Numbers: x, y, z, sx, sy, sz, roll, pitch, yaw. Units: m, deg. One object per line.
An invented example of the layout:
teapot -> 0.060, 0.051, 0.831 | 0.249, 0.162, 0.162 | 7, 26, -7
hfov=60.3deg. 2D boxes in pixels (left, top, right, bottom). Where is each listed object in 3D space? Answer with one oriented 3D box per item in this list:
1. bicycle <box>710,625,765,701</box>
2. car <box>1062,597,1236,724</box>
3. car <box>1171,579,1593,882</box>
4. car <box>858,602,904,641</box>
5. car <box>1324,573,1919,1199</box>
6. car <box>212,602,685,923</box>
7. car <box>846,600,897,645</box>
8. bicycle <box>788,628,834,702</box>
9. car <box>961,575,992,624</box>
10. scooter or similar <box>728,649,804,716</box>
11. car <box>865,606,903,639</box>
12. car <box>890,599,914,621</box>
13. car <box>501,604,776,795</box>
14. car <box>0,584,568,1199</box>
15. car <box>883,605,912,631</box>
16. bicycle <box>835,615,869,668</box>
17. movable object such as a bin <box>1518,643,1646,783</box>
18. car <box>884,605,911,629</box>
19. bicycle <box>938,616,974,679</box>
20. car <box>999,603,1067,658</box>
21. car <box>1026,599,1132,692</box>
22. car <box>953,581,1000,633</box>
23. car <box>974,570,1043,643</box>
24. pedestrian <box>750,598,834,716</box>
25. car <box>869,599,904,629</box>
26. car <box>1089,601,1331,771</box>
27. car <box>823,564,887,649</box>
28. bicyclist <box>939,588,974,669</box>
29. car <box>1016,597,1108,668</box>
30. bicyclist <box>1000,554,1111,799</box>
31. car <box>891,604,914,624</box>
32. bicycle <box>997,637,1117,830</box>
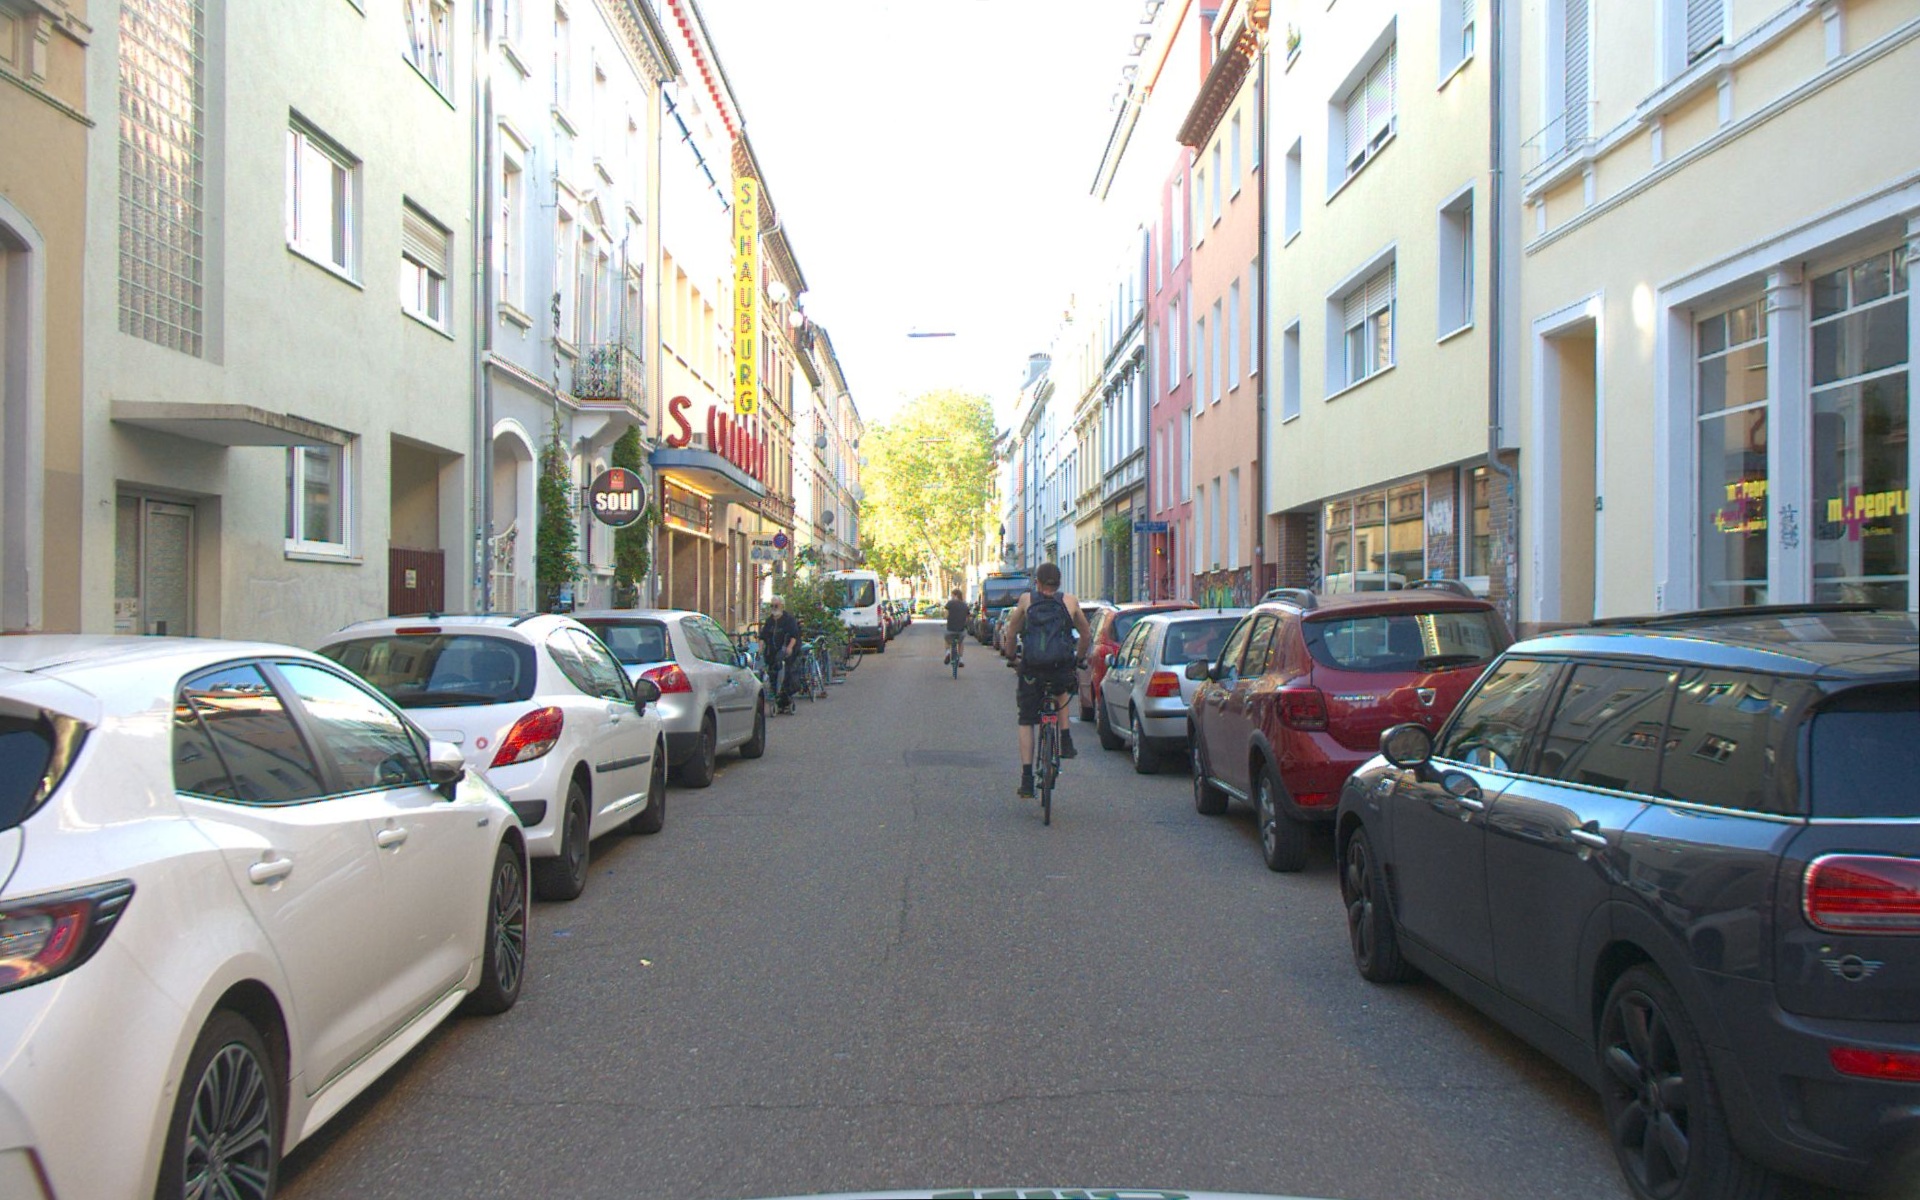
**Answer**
bicycle -> -3.593, 0.993, 26.900 | 0.743, 1.154, 2.272 | 1, -1, -5
car -> 2.335, 0.725, 21.324 | 1.676, 1.407, 3.999 | -2, -1, -1
car -> 2.562, 0.729, 11.028 | 1.676, 1.583, 3.999 | -2, -1, -1
car -> -3.150, 0.865, 66.480 | 1.638, 1.467, 4.164 | -2, -1, -1
car -> 2.563, 0.713, 5.343 | 1.780, 1.548, 3.999 | -2, -1, -1
car -> -2.759, 0.792, 9.797 | 1.638, 1.467, 3.767 | -2, -1, -1
car -> -3.124, 0.788, 58.979 | 1.638, 1.467, 4.164 | -2, -1, -1
bicycle -> -2.405, 1.031, 26.814 | 0.686, 1.125, 2.272 | 1, -1, -5
car -> 1.339, -0.010, 136.368 | 2.261, 3.833, 6.768 | -2, -1, -1
scooter or similar -> -2.680, 1.133, 22.879 | 0.762, 0.888, 0.763 | 2, -1, -37
car -> -3.601, 1.059, 79.007 | 1.638, 1.467, 4.164 | -2, -1, -1
car -> -4.217, 0.745, 120.357 | 1.638, 1.467, 4.164 | -2, -1, -1
car -> -2.782, 0.809, 15.104 | 1.637, 1.467, 3.754 | -2, -1, 2
car -> -2.370, 0.760, 4.723 | 1.638, 1.467, 4.163 | -2, -1, -3
car -> -3.784, 1.073, 100.561 | 1.638, 1.467, 4.164 | -2, -1, -1
bicycle -> -2.535, 0.949, 38.661 | 0.743, 1.184, 2.272 | 1, -1, -5
movable object such as a bin -> 5.180, 0.932, 13.822 | 0.790, 1.094, 0.678 | -3, -1, 4
car -> -4.059, 1.080, 107.780 | 1.638, 1.467, 4.164 | -2, -1, -1
bicycle -> -0.098, 0.955, 34.006 | 0.688, 1.229, 2.341 | 0, 0, -1
car -> 2.070, 0.877, 48.064 | 1.676, 1.472, 3.999 | -2, -1, -1
car -> 2.172, 0.824, 31.063 | 1.588, 1.577, 3.999 | -2, -1, -1
car -> 0.818, 0.402, 88.971 | 2.261, 2.582, 6.768 | -2, -1, -1
car -> 1.803, 0.273, 63.542 | 2.261, 2.582, 6.768 | -2, -1, -1
pedestrian -> -2.352, 0.790, 23.135 | 0.891, 1.606, 0.763 | 2, -1, -37
car -> -3.733, 0.725, 85.032 | 1.638, 1.467, 4.164 | -2, -1, -1
car -> 2.330, 0.762, 16.360 | 1.676, 1.407, 3.999 | -2, -1, -1
car -> -3.278, 0.196, 52.040 | 1.871, 2.540, 4.163 | -1, 0, -3
bicyclist -> -0.083, 0.585, 33.967 | 0.688, 1.633, 0.812 | 0, 1, -2
car -> 2.190, 0.688, 36.518 | 1.676, 1.418, 3.999 | -2, -1, -1
bicyclist -> 0.669, 0.530, 11.875 | 0.687, 1.662, 1.090 | 1, -1, -1
car -> -4.395, 1.058, 127.711 | 1.638, 1.467, 4.164 | -2, -1, -1
bicycle -> 0.666, 0.907, 12.080 | 0.687, 1.229, 2.341 | 1, -1, -1
